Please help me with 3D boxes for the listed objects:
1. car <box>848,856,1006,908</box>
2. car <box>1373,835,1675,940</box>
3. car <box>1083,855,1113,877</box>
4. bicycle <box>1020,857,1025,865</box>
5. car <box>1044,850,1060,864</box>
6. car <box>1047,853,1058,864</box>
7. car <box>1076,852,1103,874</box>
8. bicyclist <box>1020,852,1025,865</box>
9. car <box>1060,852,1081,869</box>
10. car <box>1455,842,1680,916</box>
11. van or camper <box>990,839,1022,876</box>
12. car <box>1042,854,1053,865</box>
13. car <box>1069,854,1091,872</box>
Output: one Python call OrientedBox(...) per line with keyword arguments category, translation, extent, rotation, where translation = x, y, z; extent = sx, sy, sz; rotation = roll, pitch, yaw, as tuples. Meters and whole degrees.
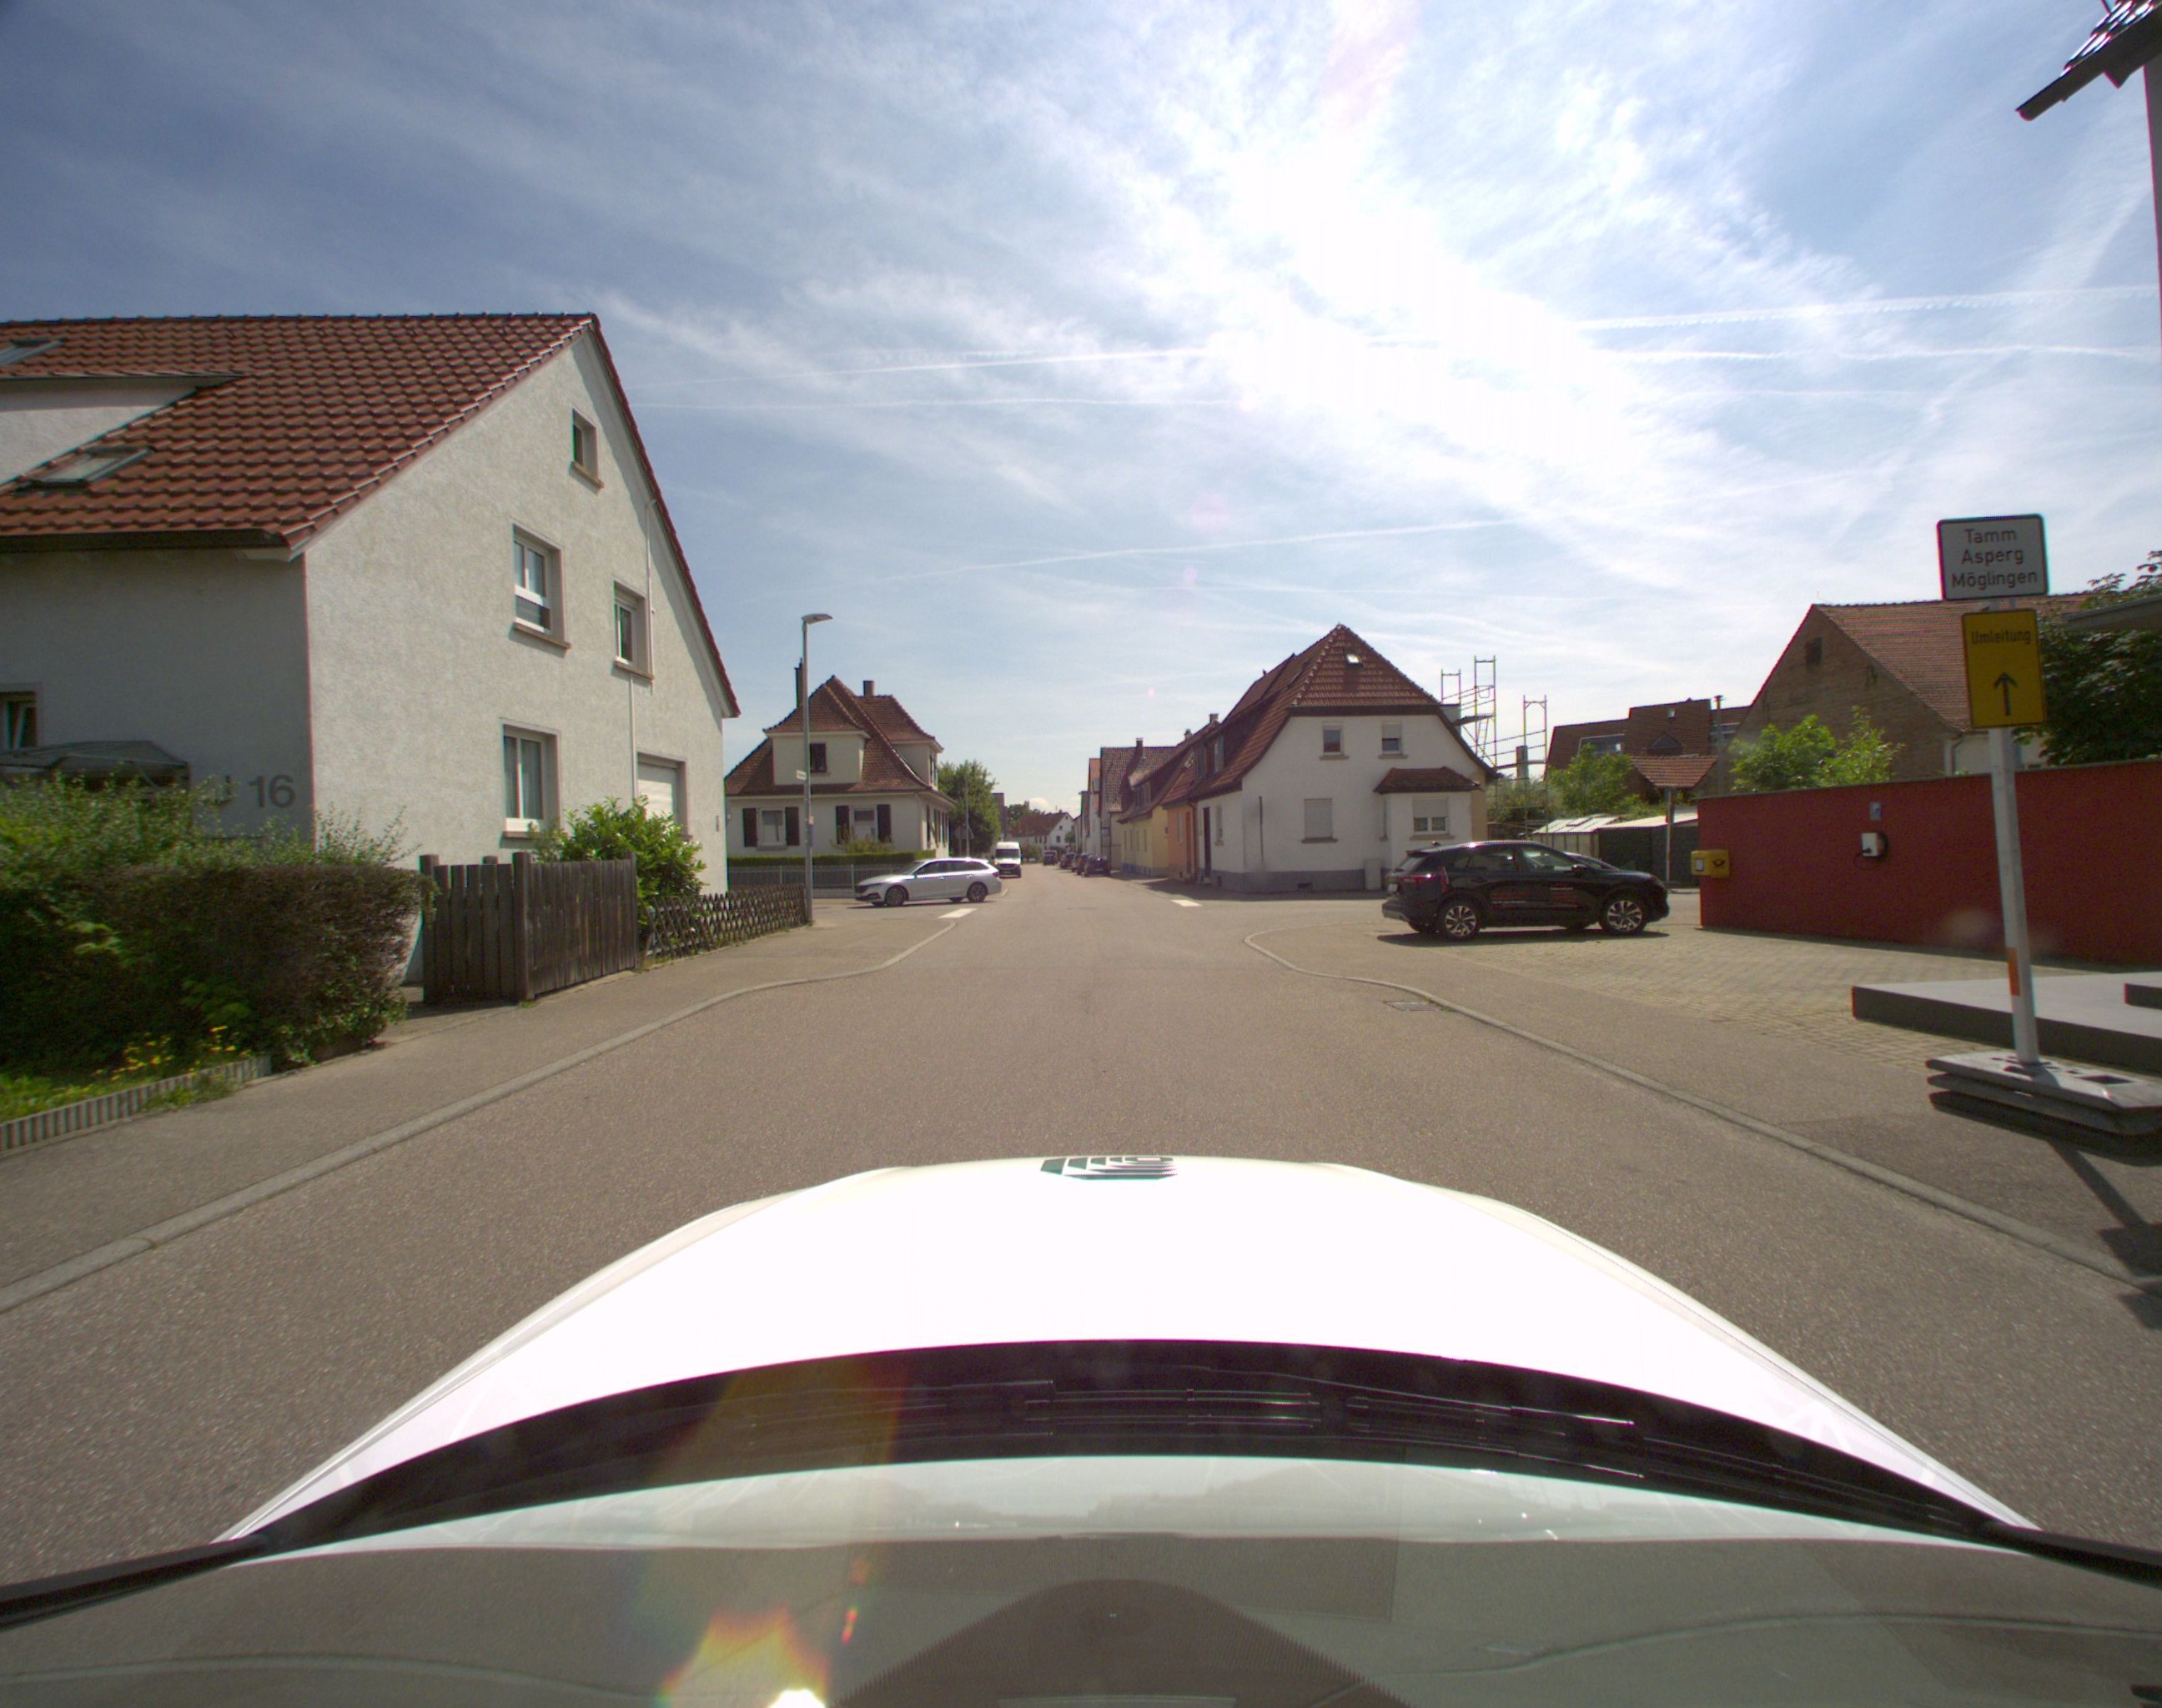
OrientedBox(category="car", translation=(-4.807, 0.832, 25.728), extent=(4.608, 1.438, 1.739), rotation=(-1, 0, -36))
OrientedBox(category="car", translation=(7.581, 0.554, 14.293), extent=(4.274, 1.653, 1.850), rotation=(-1, 0, 4))
OrientedBox(category="car", translation=(1.119, 0.800, 55.229), extent=(1.608, 1.431, 3.746), rotation=(-1, 0, -6))
OrientedBox(category="bicycle", translation=(-8.449, 1.056, 117.422), extent=(0.669, 1.132, 2.185), rotation=(-1, 0, -5))
OrientedBox(category="car", translation=(-4.704, 0.524, 132.949), extent=(2.120, 2.158, 4.739), rotation=(-2, 0, 2))
OrientedBox(category="car", translation=(-4.189, 0.649, 118.723), extent=(1.511, 1.567, 3.183), rotation=(-1, 0, 0))
OrientedBox(category="car", translation=(0.612, 0.650, 60.979), extent=(1.725, 1.600, 4.248), rotation=(-1, 0, -3))
OrientedBox(category="bicyclist", translation=(-8.453, 0.688, 117.503), extent=(0.712, 1.799, 0.940), rotation=(-1, 0, -6))
OrientedBox(category="car", translation=(-1.174, 0.707, 87.776), extent=(1.873, 1.700, 4.175), rotation=(-1, 0, -6))
OrientedBox(category="car", translation=(10.704, 0.537, 18.141), extent=(3.968, 1.504, 1.696), rotation=(-1, 0, 4))
OrientedBox(category="van or camper", translation=(-5.463, 0.236, 60.411), extent=(2.180, 2.571, 6.797), rotation=(-1, 0, -4))
OrientedBox(category="car", translation=(-5.003, 0.817, 122.783), extent=(1.511, 1.624, 3.183), rotation=(-2, 0, 0))
OrientedBox(category="car", translation=(-0.135, 0.755, 72.879), extent=(1.671, 1.559, 3.034), rotation=(-1, 0, -6))
